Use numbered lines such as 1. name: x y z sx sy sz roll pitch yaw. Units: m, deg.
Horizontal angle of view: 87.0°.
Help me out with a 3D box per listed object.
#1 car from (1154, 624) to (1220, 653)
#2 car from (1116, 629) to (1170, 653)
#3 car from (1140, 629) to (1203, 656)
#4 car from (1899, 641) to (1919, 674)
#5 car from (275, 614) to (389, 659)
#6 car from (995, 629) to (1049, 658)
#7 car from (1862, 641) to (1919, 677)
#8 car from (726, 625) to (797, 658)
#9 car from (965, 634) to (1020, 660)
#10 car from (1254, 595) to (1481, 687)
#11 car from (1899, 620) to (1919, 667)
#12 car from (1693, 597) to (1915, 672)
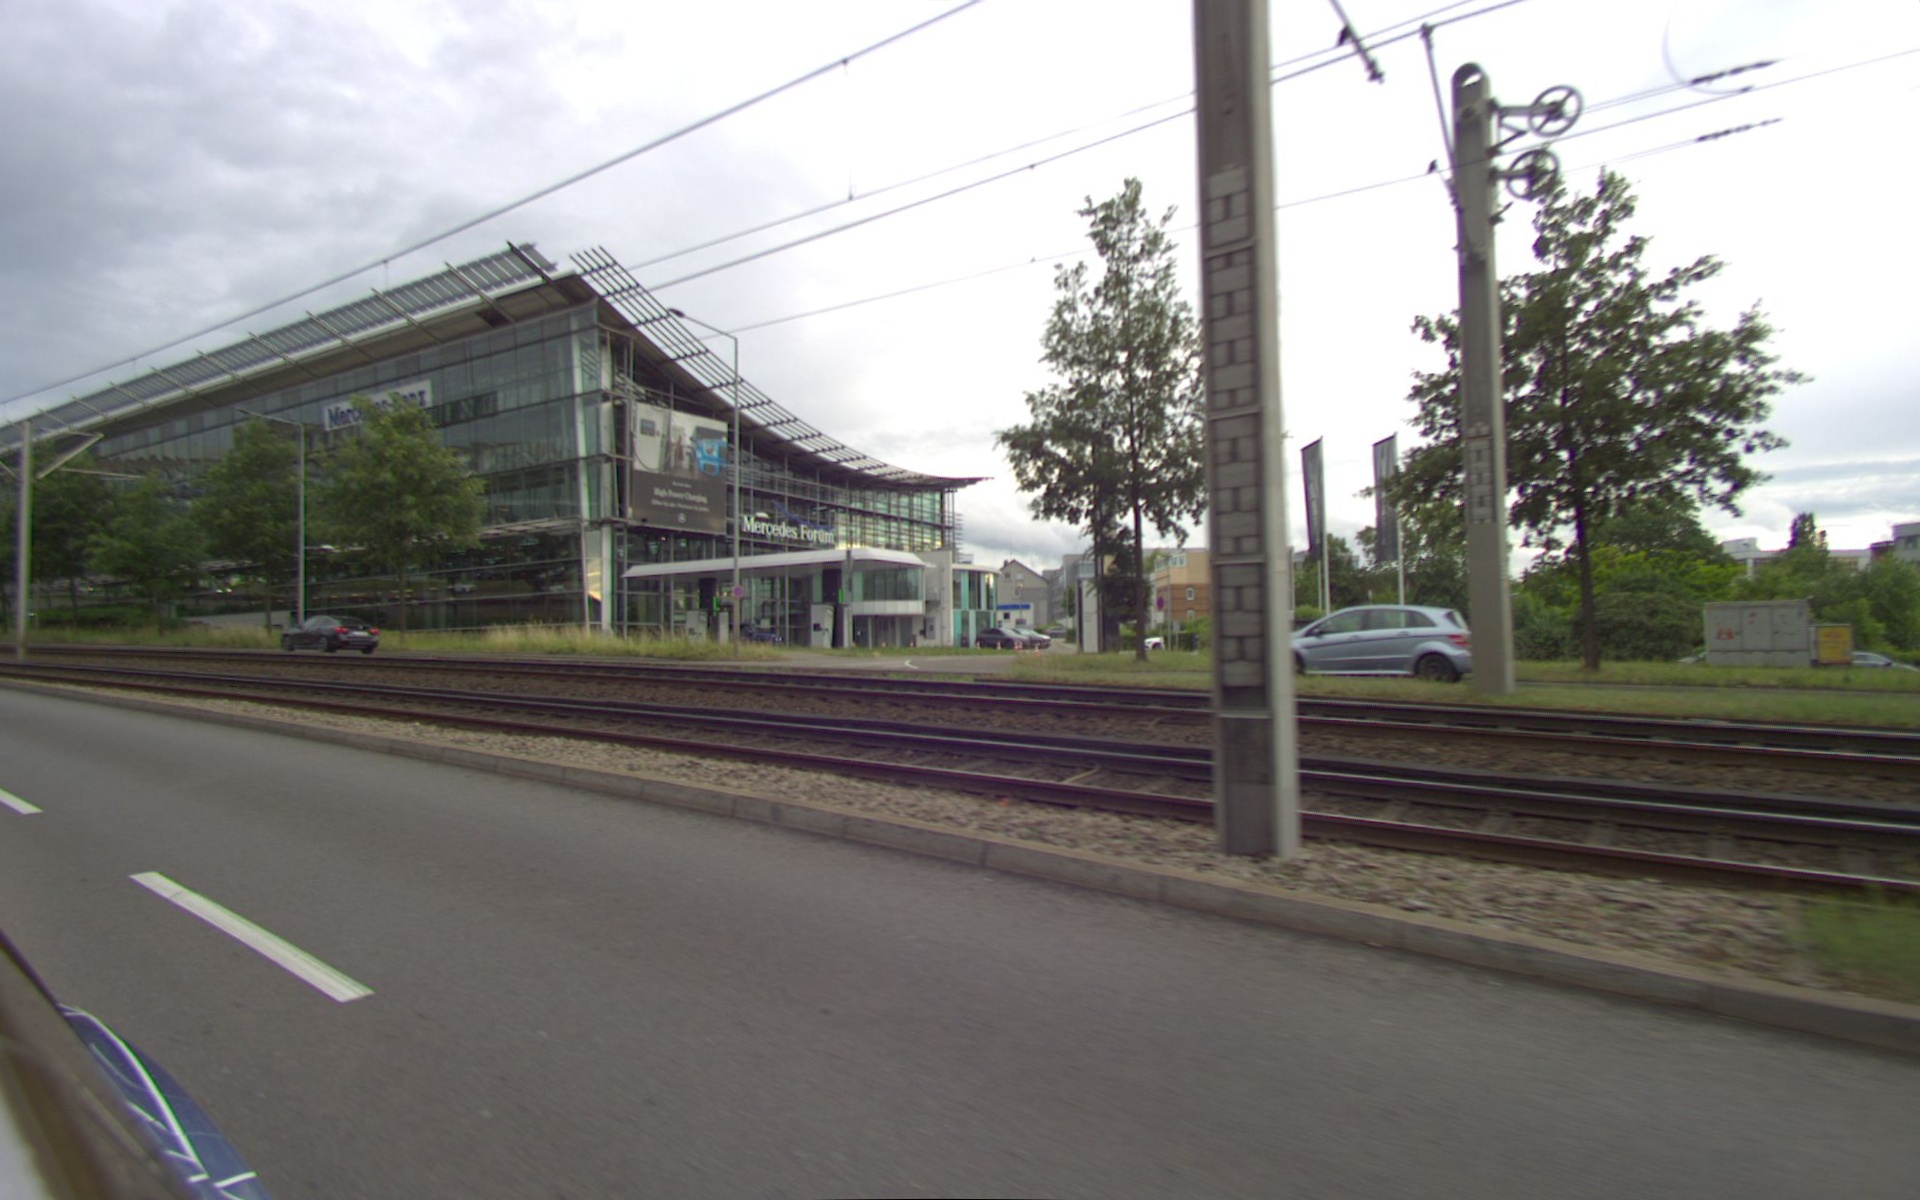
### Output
1. car: 15.024 2.537 67.226 3.946 1.741 1.999 0 1 2
2. car: 14.639 3.289 81.167 3.946 1.741 1.999 0 1 2
3. car: 14.546 2.926 69.868 3.946 1.741 1.999 0 1 2
4. car: 52.043 3.101 53.108 1.972 1.686 3.713 0 0 0
5. car: -23.736 1.391 38.201 4.389 1.532 1.868 -1 -5 32
6. car: 4.724 3.267 76.910 3.745 2.029 1.881 1 0 41
7. car: 49.959 3.083 53.025 1.972 1.686 3.713 0 0 0
8. car: -12.100 2.514 61.794 3.947 1.864 1.893 0 0 3
9. car: 2.387 3.447 74.328 3.747 1.723 1.758 1 0 41
10. car: 8.272 0.791 20.628 3.989 1.692 1.977 -1 -1 34
11. car: 33.754 1.468 33.146 3.949 1.521 1.997 1 0 5
12. car: 20.557 0.789 24.901 3.991 1.663 1.976 1 0 35
